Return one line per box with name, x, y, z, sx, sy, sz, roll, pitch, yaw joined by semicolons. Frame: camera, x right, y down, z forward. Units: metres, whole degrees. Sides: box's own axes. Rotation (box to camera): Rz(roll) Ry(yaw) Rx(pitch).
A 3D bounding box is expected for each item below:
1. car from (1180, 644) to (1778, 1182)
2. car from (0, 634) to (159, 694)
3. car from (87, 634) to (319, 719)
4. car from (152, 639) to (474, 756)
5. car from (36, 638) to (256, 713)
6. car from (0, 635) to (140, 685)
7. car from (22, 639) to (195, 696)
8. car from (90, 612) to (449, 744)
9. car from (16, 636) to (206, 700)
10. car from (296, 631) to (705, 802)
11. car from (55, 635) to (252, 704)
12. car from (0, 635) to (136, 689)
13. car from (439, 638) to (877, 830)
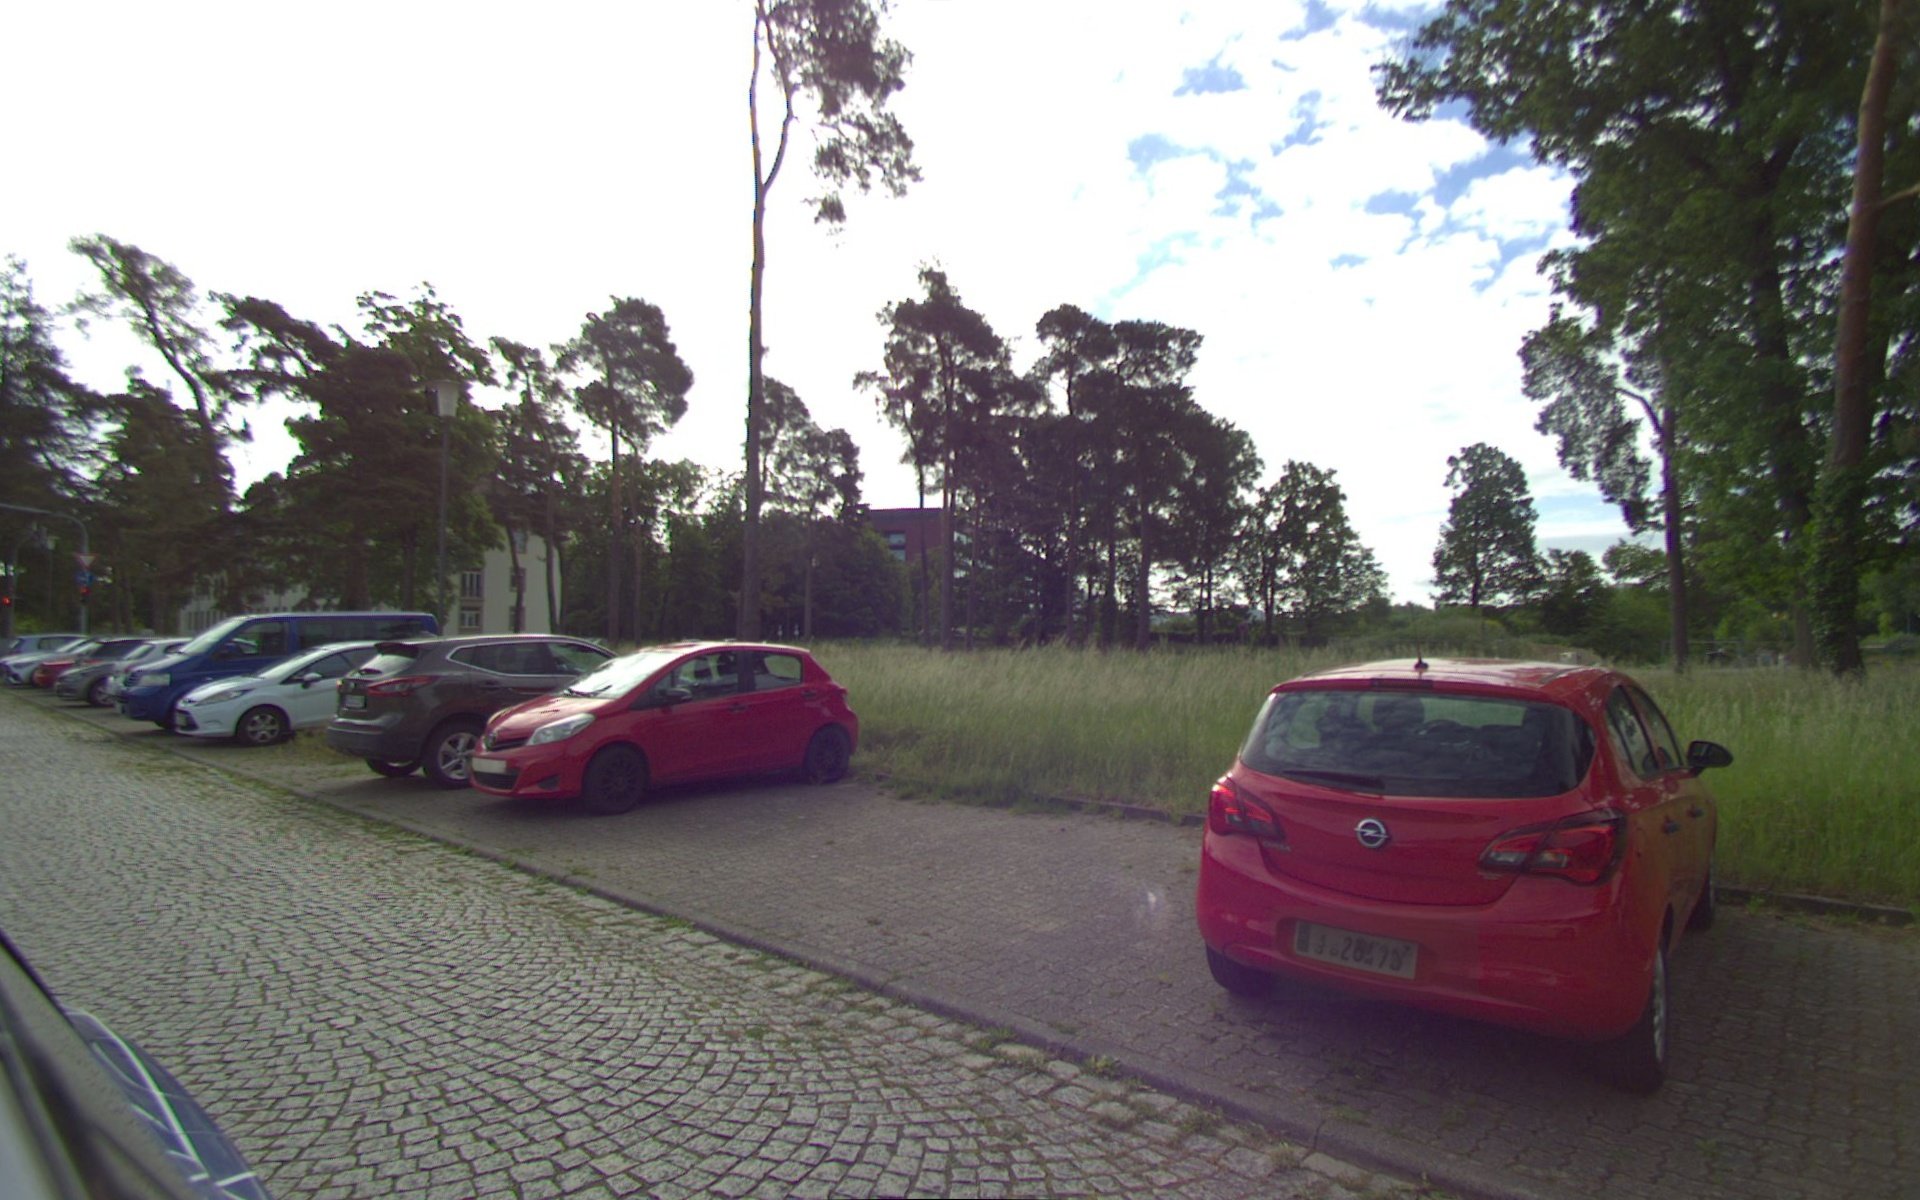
car;2.772;0.977;4.909;1.671;1.490;3.843;-2;-3;41
car;-25.749;1.816;29.454;1.598;1.499;3.533;-1;0;33
car;-15.797;1.528;21.265;1.683;1.465;3.559;-1;0;34
car;-9.921;1.395;15.749;1.741;1.403;3.881;-1;0;39
car;-18.206;1.633;22.786;1.614;1.431;3.559;-1;-1;34
car;-29.496;1.933;33.439;1.622;1.443;3.418;-1;0;31
car;-23.937;1.848;28.526;1.621;1.358;3.600;-1;0;45
car;-11.823;1.190;17.624;2.159;1.880;4.773;-1;0;39
car;-22.294;1.728;26.677;1.634;1.427;3.532;-1;0;34
car;-5.089;1.213;11.655;1.819;1.616;3.868;-2;-4;38
car;-19.981;1.670;25.199;1.602;1.445;3.532;-1;0;34
car;-27.947;1.885;31.345;1.625;1.469;3.527;-1;0;38
car;-2.824;1.167;10.141;1.706;1.532;3.899;-3;-4;41
